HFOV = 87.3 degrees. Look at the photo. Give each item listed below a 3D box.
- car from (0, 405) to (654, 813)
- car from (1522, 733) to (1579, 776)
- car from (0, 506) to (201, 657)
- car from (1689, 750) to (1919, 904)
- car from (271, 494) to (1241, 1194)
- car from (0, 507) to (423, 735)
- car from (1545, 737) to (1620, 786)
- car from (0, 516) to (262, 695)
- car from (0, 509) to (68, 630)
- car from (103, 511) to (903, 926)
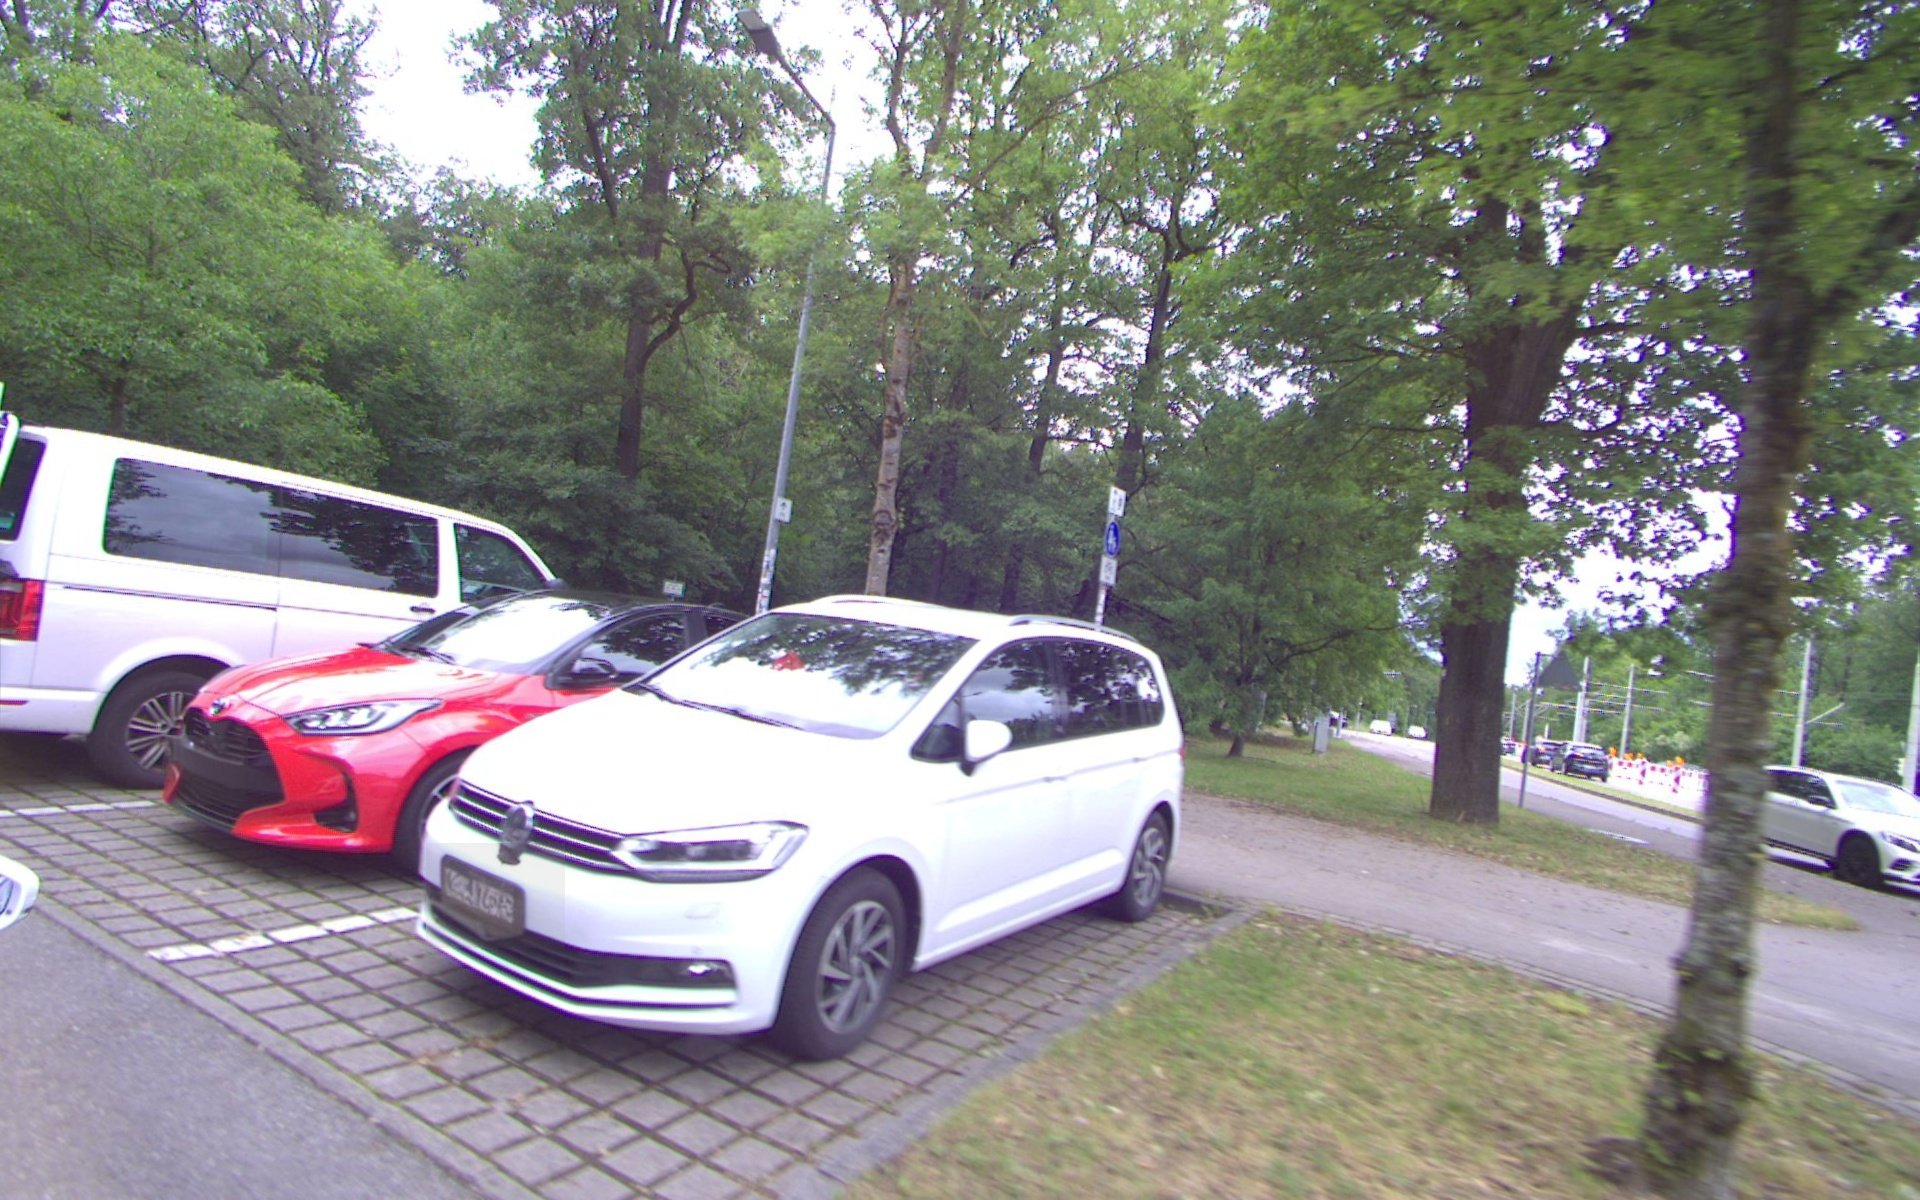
[{"bbox_3d":[-4.834,0.209,7.441,2.046,2.042,4.669,9,-3,26],"label":"car"},{"bbox_3d":[30.836,8.052,52.650,1.769,1.756,3.709,10,-3,22],"label":"car"},{"bbox_3d":[-11.308,-0.381,10.665,1.820,1.492,4.788,8,-2,26],"label":"car"},{"bbox_3d":[14.549,3.702,16.459,1.963,1.768,4.586,11,-3,5],"label":"car"},{"bbox_3d":[-0.362,0.803,5.065,2.129,1.712,4.530,7,-3,31],"label":"car"},{"bbox_3d":[-7.132,0.221,8.843,1.813,1.571,3.739,10,-3,24],"label":"car"},{"bbox_3d":[28.255,7.300,45.817,1.963,1.735,4.006,10,-3,22],"label":"car"},{"bbox_3d":[-9.323,-0.056,9.480,1.843,1.499,4.005,6,-4,24],"label":"car"},{"bbox_3d":[-13.672,-0.641,11.844,1.884,1.497,4.245,7,-3,23],"label":"car"},{"bbox_3d":[-2.387,0.697,6.291,1.915,1.572,4.008,8,-3,32],"label":"car"}]
